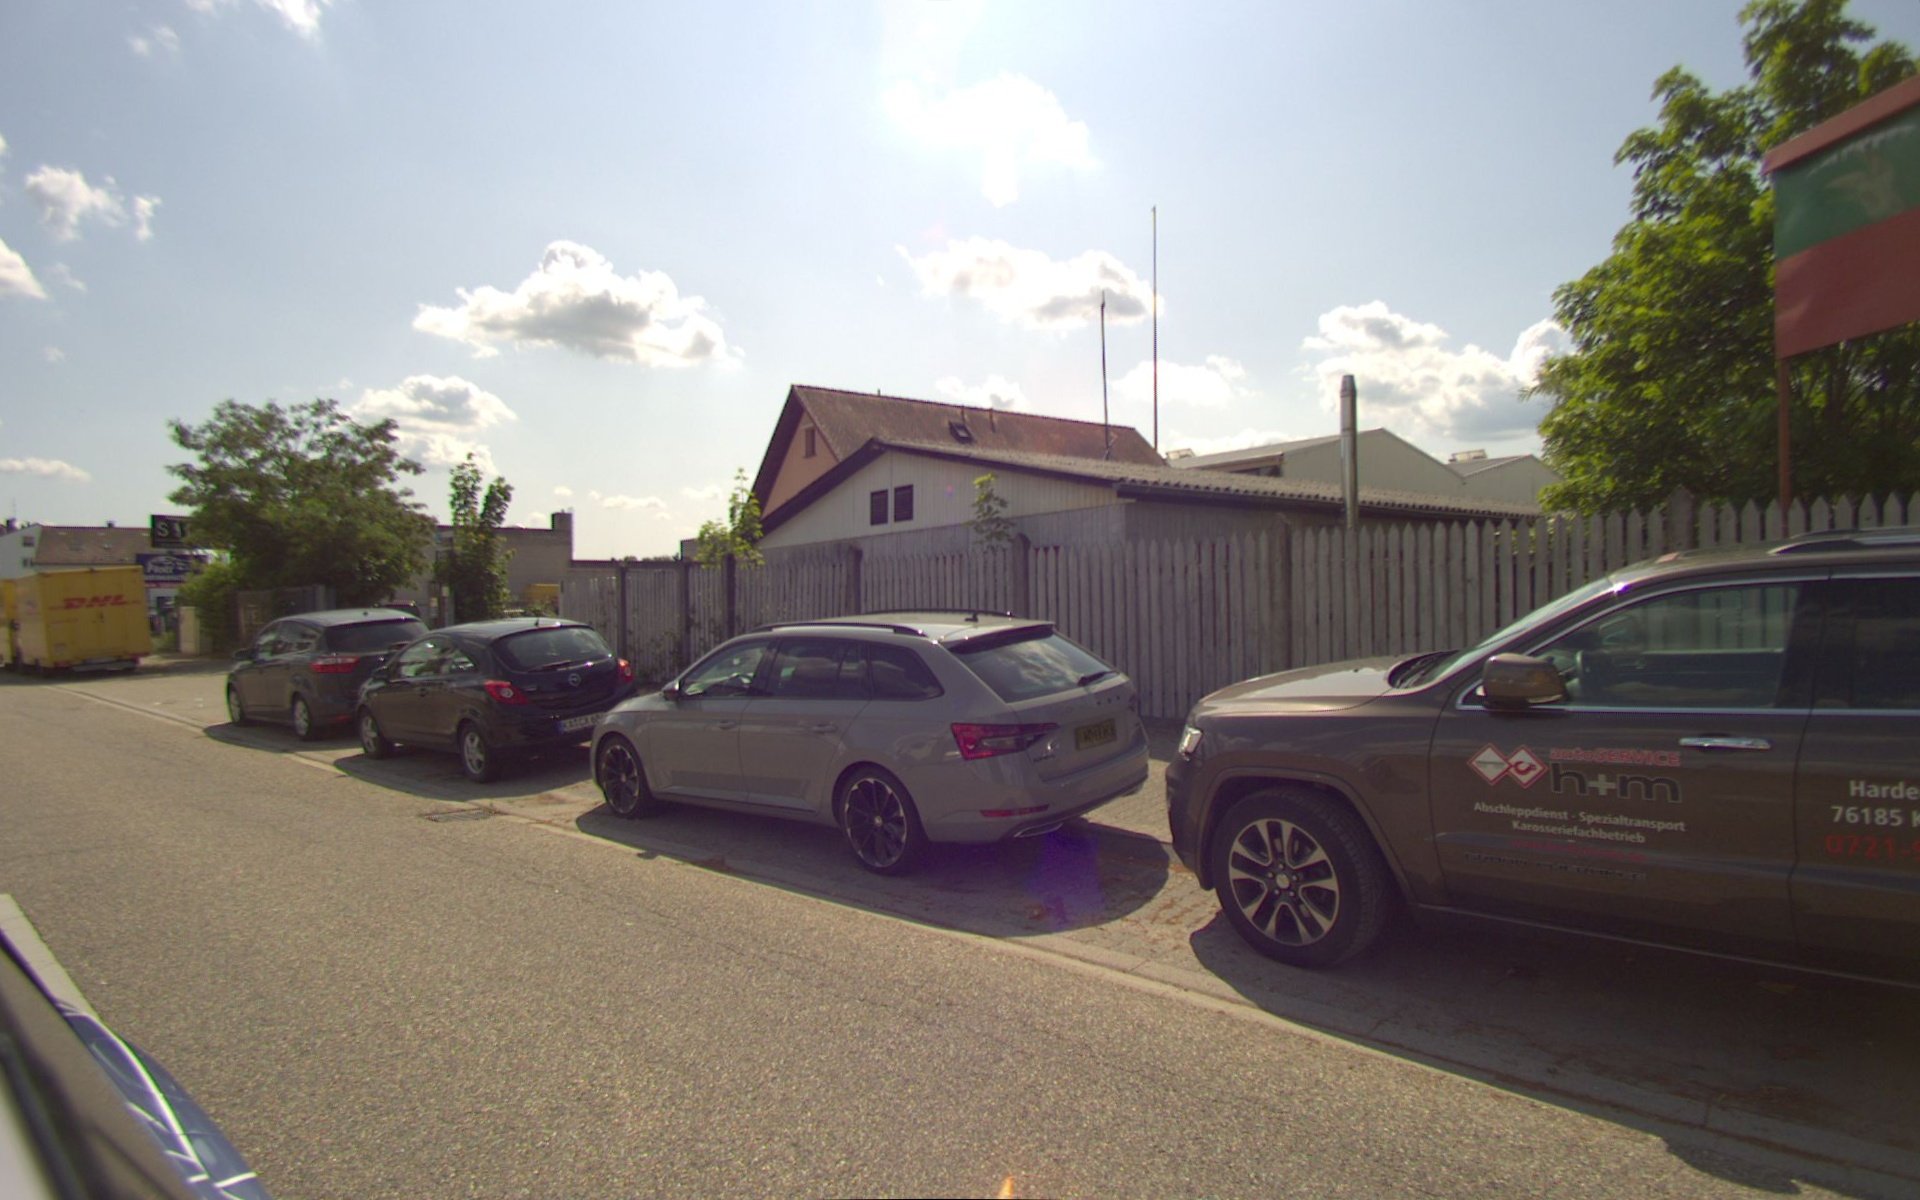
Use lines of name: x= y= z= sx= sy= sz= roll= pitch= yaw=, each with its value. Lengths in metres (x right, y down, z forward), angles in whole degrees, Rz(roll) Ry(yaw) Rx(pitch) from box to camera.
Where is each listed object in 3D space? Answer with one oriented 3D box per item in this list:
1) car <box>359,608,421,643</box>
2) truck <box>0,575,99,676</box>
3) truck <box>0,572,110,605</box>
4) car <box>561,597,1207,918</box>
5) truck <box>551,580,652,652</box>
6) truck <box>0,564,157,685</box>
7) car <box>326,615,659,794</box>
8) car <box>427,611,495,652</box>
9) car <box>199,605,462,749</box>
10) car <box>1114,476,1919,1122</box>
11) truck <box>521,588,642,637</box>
car: x=-22.254 y=1.007 z=39.468 sx=1.785 sy=1.315 sz=3.878 roll=0 pitch=-2 yaw=-34
truck: x=-29.759 y=0.813 z=32.344 sx=7.169 sy=2.876 sz=2.246 roll=-2 pitch=0 yaw=40
truck: x=-84.680 y=-1.049 z=93.615 sx=2.722 sy=2.878 sz=9.152 roll=-2 pitch=-2 yaw=45
car: x=-0.823 y=0.844 z=7.256 sx=4.739 sy=1.529 sz=1.716 roll=-2 pitch=1 yaw=41
truck: x=-13.616 y=0.587 z=38.156 sx=2.082 sy=2.506 sz=5.734 roll=-1 pitch=-1 yaw=-35
truck: x=-24.279 y=0.622 z=27.644 sx=7.100 sy=2.884 sz=2.293 roll=-1 pitch=2 yaw=41
car: x=-5.147 y=0.980 z=10.918 sx=4.023 sy=1.459 sz=1.612 roll=-1 pitch=4 yaw=40
car: x=-19.830 y=1.213 z=40.141 sx=1.742 sy=1.524 sz=3.926 roll=-1 pitch=-1 yaw=-36
car: x=-8.887 y=0.964 z=14.142 sx=4.409 sy=1.616 sz=1.708 roll=-1 pitch=3 yaw=39
car: x=3.123 y=0.561 z=3.804 sx=4.785 sy=1.836 sz=1.898 roll=-1 pitch=0 yaw=43
truck: x=-22.371 y=0.740 z=60.005 sx=6.332 sy=2.786 sz=2.330 roll=0 pitch=-1 yaw=-36
